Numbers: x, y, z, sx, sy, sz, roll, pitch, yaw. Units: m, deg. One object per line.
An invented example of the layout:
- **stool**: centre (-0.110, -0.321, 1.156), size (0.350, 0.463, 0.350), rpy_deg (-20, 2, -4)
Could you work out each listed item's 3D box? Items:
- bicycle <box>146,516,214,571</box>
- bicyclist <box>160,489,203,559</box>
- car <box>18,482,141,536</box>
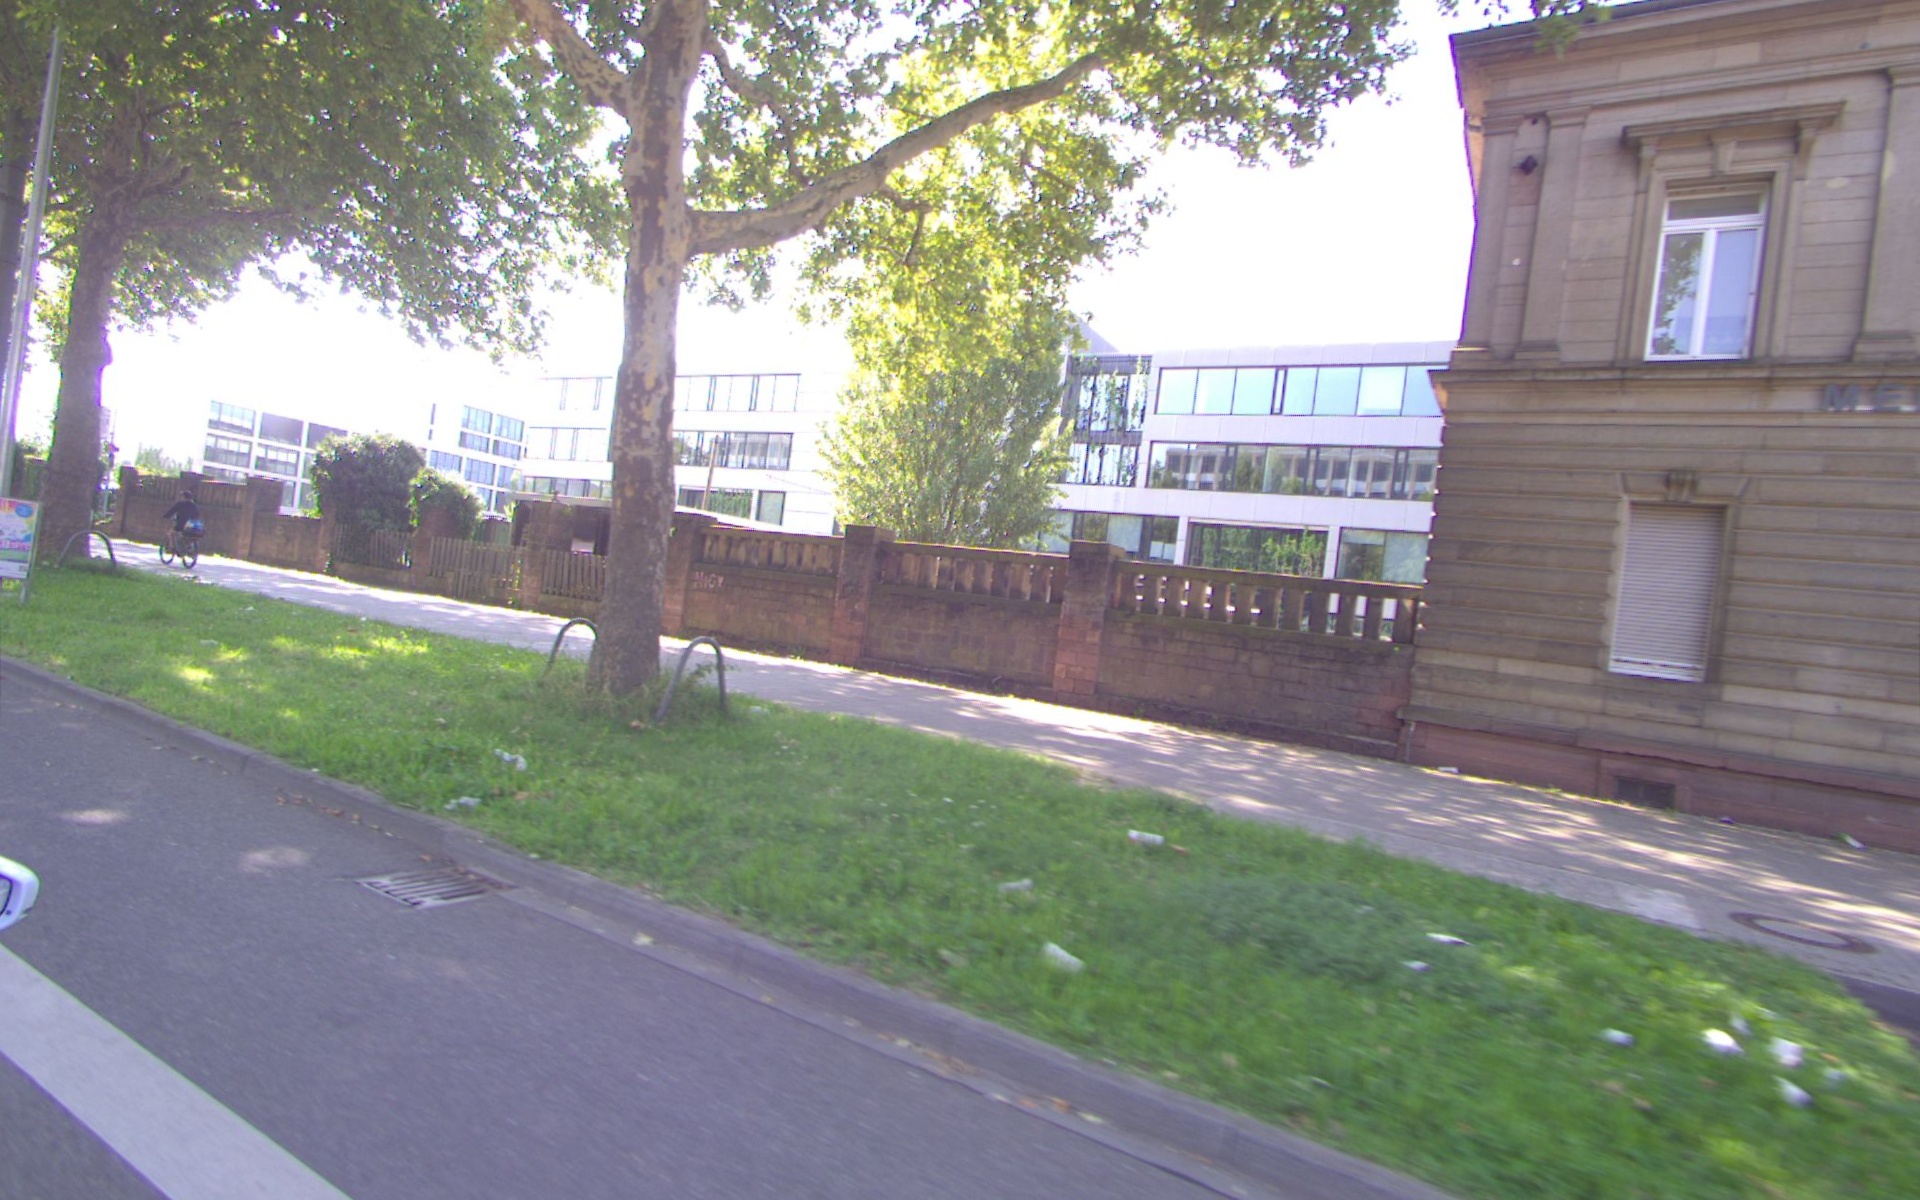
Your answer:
- **bicycle**: centre (-18.541, -1.347, 23.910), size (1.825, 1.102, 0.492), rpy_deg (7, 0, 28)
- **bicyclist**: centre (-18.504, -1.809, 23.910), size (0.586, 1.558, 0.470), rpy_deg (7, 1, 28)
- **car**: centre (-41.619, -4.294, 47.650), size (1.534, 1.865, 4.010), rpy_deg (7, 0, 29)
